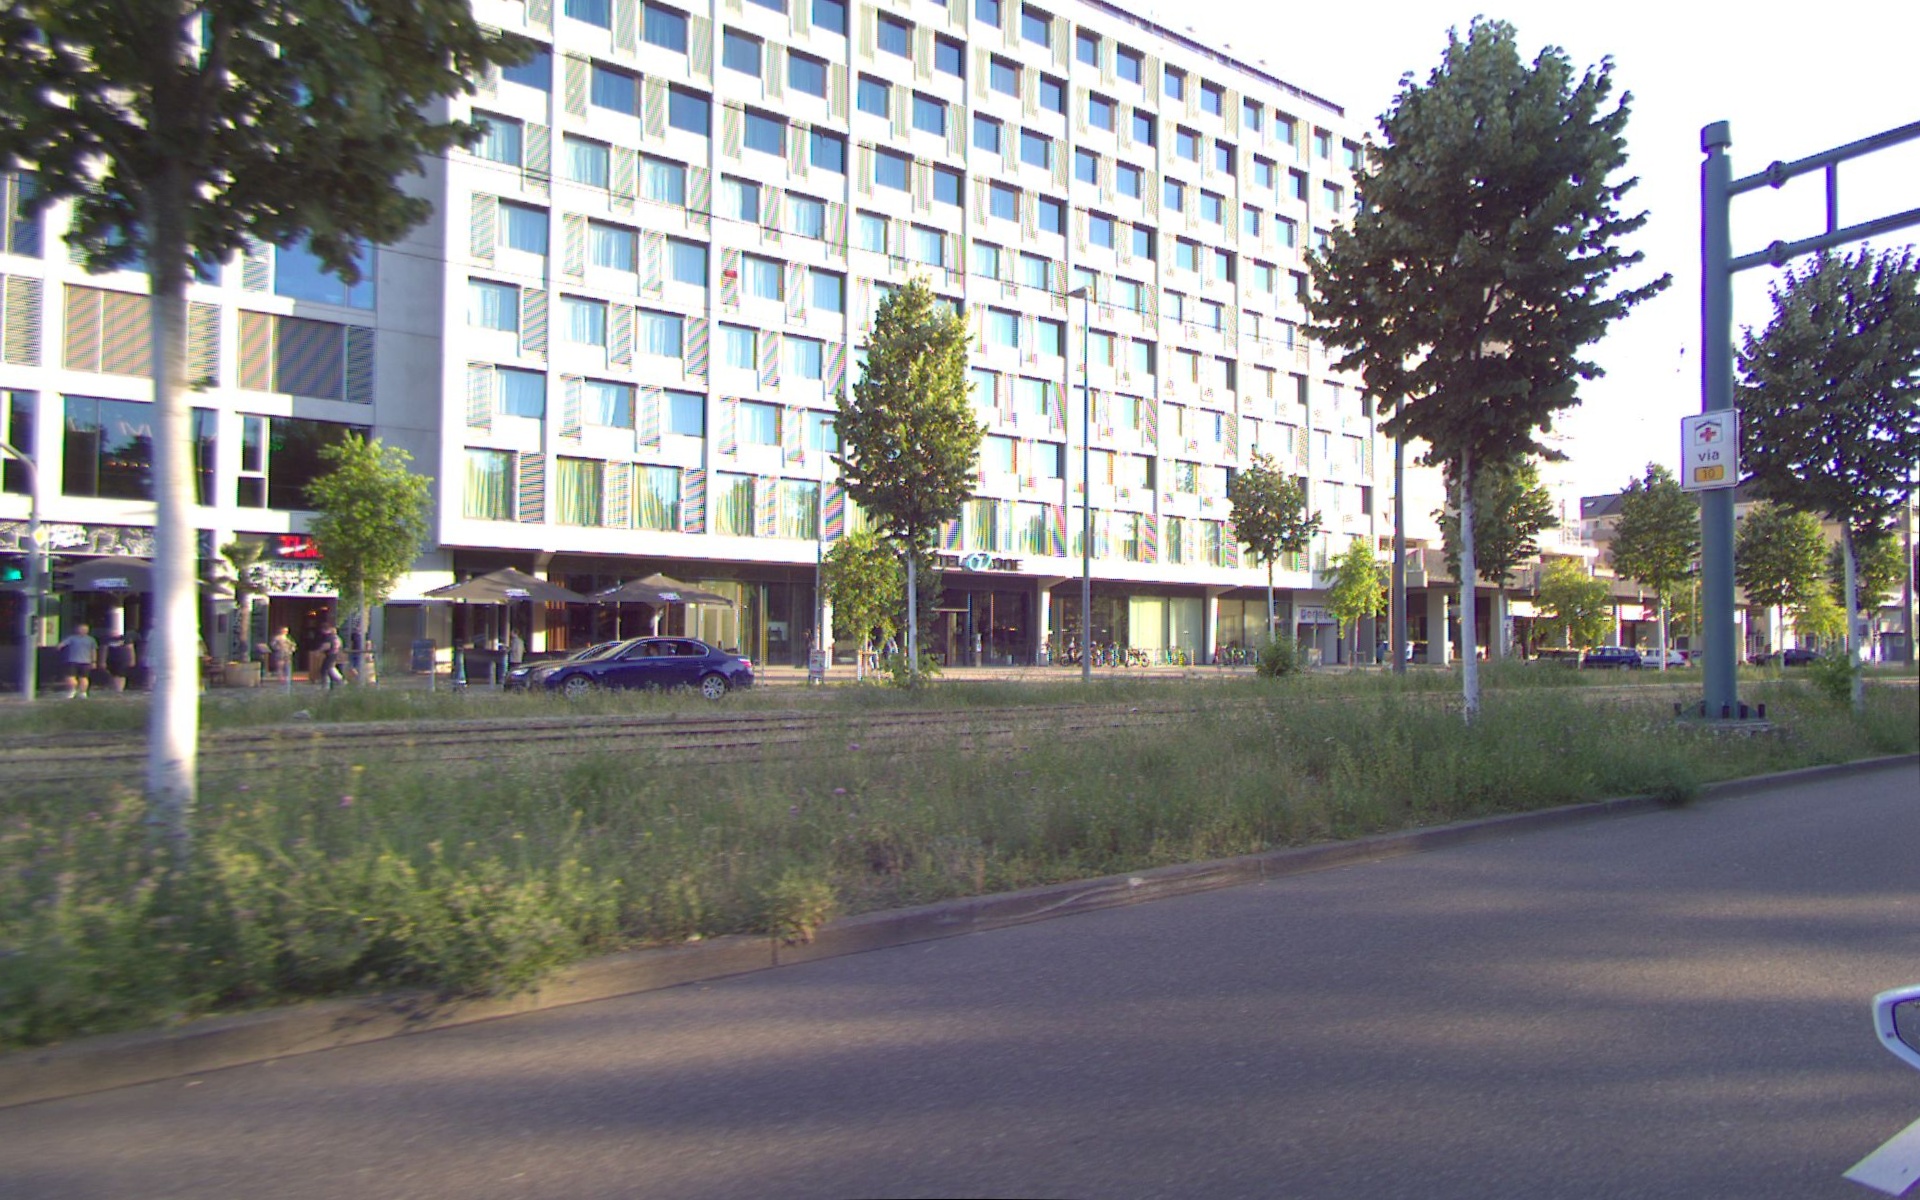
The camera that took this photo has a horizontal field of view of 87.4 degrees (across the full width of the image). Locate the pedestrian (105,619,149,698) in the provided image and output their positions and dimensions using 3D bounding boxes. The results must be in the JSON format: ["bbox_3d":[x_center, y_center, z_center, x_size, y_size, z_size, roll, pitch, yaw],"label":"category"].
[{"bbox_3d":[-20.370,1.418,24.568,0.674,1.860,0.702,3,0,-33],"label":"pedestrian"}]

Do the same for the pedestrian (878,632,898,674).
[{"bbox_3d":[-2.827,2.069,39.597,0.596,1.621,0.494,2,0,-31],"label":"pedestrian"}]

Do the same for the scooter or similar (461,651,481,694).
[{"bbox_3d":[-13.565,2.015,27.867,0.334,1.099,0.967,5,-1,-31],"label":"scooter or similar"}]

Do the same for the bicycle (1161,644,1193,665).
[{"bbox_3d":[11.081,2.772,51.384,0.417,1.033,1.776,2,-2,-35],"label":"bicycle"}]

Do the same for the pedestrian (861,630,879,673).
[{"bbox_3d":[-3.595,2.042,40.137,0.510,1.678,0.426,2,0,-31],"label":"pedestrian"}]

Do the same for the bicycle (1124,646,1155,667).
[{"bbox_3d":[8.874,2.794,49.837,0.417,1.033,1.731,2,-2,-35],"label":"bicycle"}]

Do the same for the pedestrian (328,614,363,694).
[{"bbox_3d":[-15.870,1.382,25.946,0.540,2.040,0.503,0,-2,10],"label":"pedestrian"}]

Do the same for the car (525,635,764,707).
[{"bbox_3d":[-6.945,1.545,22.277,4.746,1.459,2.006,2,-4,-31],"label":"car"}]

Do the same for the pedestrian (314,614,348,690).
[{"bbox_3d":[-17.288,1.425,27.606,0.540,2.040,0.503,0,-2,10],"label":"pedestrian"}]

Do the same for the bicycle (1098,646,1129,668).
[{"bbox_3d":[7.402,2.741,48.507,0.417,1.033,1.776,2,-2,-35],"label":"bicycle"}]

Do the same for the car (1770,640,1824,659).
[{"bbox_3d":[87.392,5.157,104.915,2.168,1.870,3.912,2,-2,-32],"label":"car"}]

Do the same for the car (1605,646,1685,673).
[{"bbox_3d":[44.199,3.808,64.910,4.054,1.455,1.823,2,0,27],"label":"car"}]

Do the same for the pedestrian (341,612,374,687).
[{"bbox_3d":[-16.598,1.353,27.665,0.540,2.040,0.503,0,-2,10],"label":"pedestrian"}]

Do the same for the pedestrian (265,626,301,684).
[{"bbox_3d":[-19.256,1.559,28.567,0.699,1.625,0.677,2,0,-25],"label":"pedestrian"}]

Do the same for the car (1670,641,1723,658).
[{"bbox_3d":[81.774,5.491,111.576,2.144,1.792,4.303,0,-4,-34],"label":"car"}]

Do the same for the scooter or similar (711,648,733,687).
[{"bbox_3d":[-7.471,2.119,31.510,0.334,1.179,1.176,2,-2,-30],"label":"scooter or similar"}]

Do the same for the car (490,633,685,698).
[{"bbox_3d":[-9.080,1.596,24.604,4.179,1.458,1.875,2,-5,-33],"label":"car"}]

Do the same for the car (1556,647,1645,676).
[{"bbox_3d":[39.125,3.747,61.483,4.200,1.611,2.010,0,-2,19],"label":"car"}]

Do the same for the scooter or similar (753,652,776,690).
[{"bbox_3d":[-6.231,2.238,31.987,0.334,1.072,1.175,0,3,-31],"label":"scooter or similar"}]

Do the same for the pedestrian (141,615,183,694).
[{"bbox_3d":[-20.220,1.363,25.478,0.700,1.949,0.675,2,1,-30],"label":"pedestrian"}]

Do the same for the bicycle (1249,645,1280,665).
[{"bbox_3d":[16.760,3.014,55.306,0.417,1.033,1.776,2,-2,-35],"label":"bicycle"}]

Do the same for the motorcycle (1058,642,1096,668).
[{"bbox_3d":[5.595,2.624,48.046,1.871,1.187,0.513,0,-2,44],"label":"motorcycle"}]

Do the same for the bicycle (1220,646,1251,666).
[{"bbox_3d":[14.588,2.952,53.205,0.417,1.033,1.776,2,-2,-35],"label":"bicycle"}]
